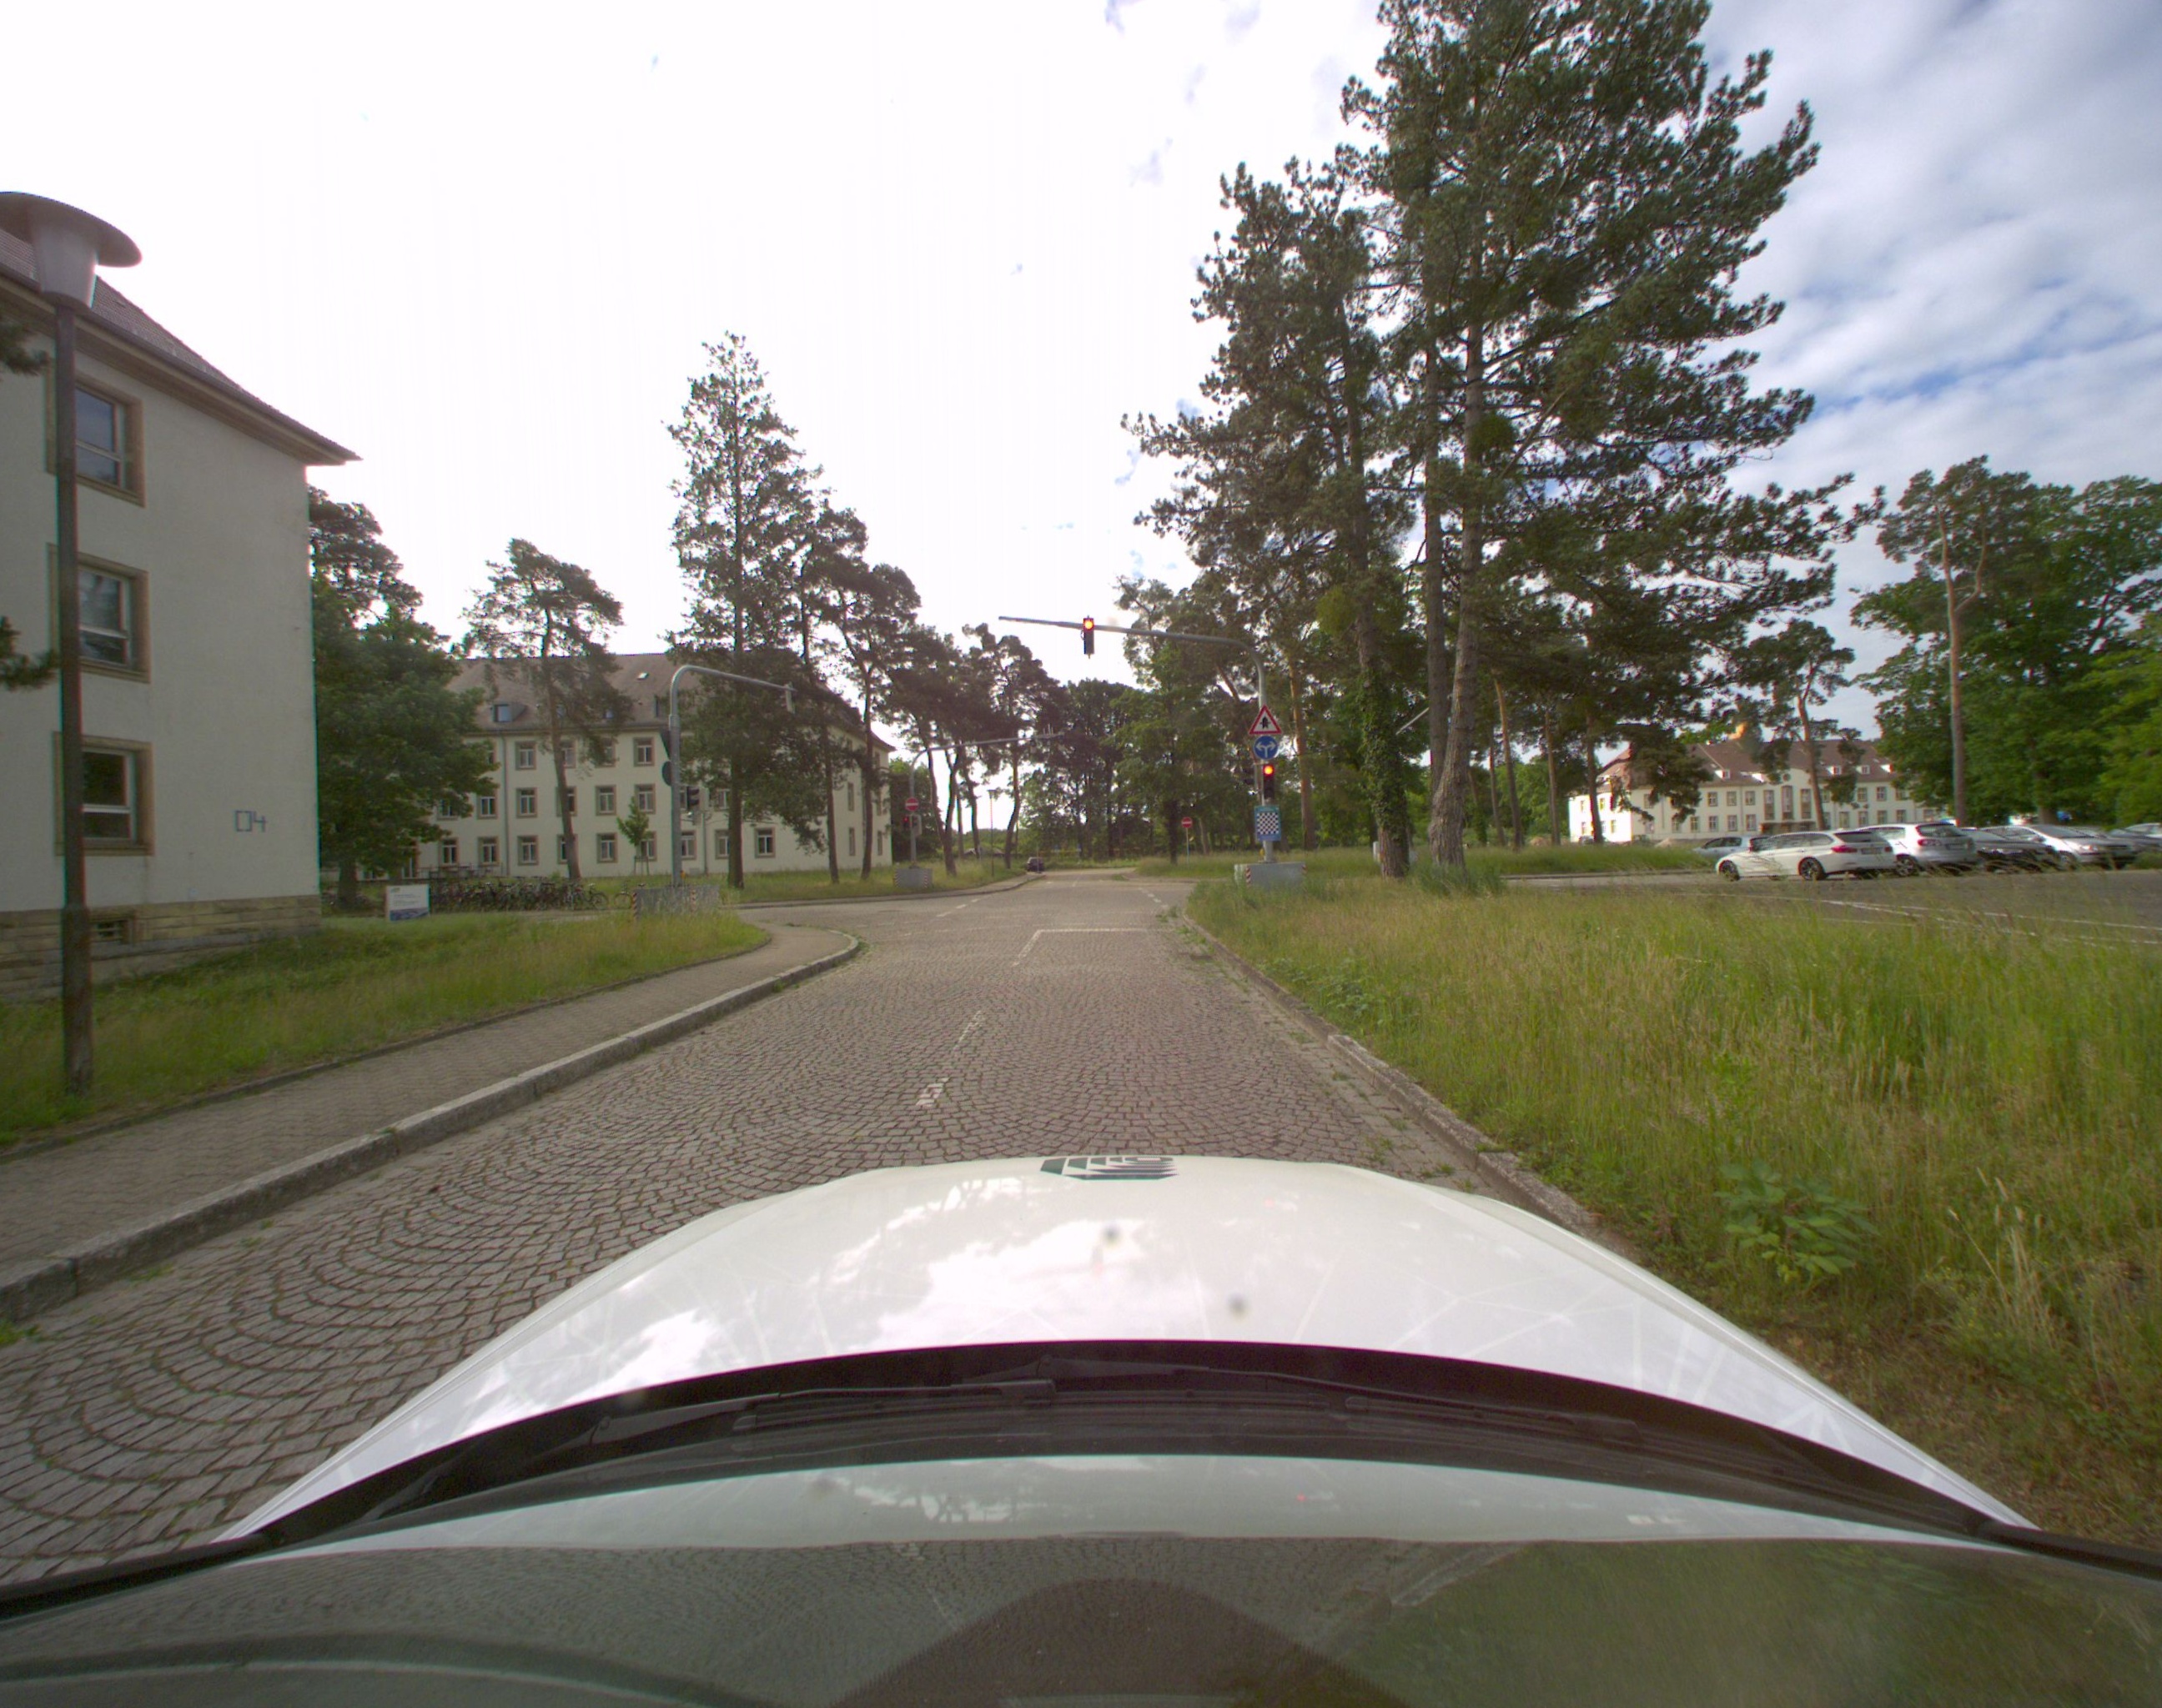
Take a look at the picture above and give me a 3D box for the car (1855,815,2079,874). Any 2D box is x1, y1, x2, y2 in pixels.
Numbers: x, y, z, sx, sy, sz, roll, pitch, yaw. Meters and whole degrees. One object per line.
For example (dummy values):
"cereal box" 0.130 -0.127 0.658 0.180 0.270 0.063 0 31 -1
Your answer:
"car" 26.618 -0.257 24.742 1.862 1.577 4.443 -2 0 -3

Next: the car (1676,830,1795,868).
"car" 28.756 -0.213 35.986 1.746 1.524 4.450 -2 0 2

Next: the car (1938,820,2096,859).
"car" 40.954 -0.601 35.808 1.748 1.524 4.443 -2 0 -3

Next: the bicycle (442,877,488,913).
"bicycle" -23.881 1.582 31.610 0.447 1.283 1.695 -2 0 -1

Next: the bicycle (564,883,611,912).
"bicycle" -18.345 1.628 30.290 1.454 0.996 0.452 -2 0 1

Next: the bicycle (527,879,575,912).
"bicycle" -20.565 1.598 31.642 0.573 1.178 1.953 -2 0 -1

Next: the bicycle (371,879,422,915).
"bicycle" -26.527 1.665 31.595 0.447 1.283 1.827 -2 0 -1

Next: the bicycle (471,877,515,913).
"bicycle" -22.861 1.571 31.702 0.447 1.283 1.695 -2 0 -1

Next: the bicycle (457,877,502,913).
"bicycle" -23.365 1.577 31.657 0.447 1.283 1.695 -2 0 -1

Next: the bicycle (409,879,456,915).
"bicycle" -25.107 1.648 31.551 0.447 1.283 1.695 -2 0 -1

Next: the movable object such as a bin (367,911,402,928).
"movable object such as a bin" -22.856 2.151 26.723 0.747 0.503 0.445 -2 0 -1

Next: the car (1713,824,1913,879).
"car" 21.395 -0.047 24.098 1.748 1.415 4.443 -2 -1 -3

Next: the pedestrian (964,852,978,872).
"pedestrian" -10.628 0.749 78.765 1.206 1.890 0.748 -2 0 2

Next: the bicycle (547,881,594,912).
"bicycle" -19.870 1.642 31.742 0.573 1.078 1.996 -2 0 -1

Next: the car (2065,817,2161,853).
"car" 46.960 -0.830 35.866 1.748 1.524 4.443 -2 0 -3

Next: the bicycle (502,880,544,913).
"bicycle" -21.661 1.622 31.624 0.447 1.178 1.695 -2 0 -1

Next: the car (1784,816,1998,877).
"car" 23.972 -0.206 24.375 1.862 1.577 4.443 -2 0 -3

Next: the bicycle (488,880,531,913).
"bicycle" -22.147 1.615 31.601 0.447 1.178 1.695 -2 0 -1

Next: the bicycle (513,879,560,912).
"bicycle" -21.149 1.604 31.685 0.526 1.178 1.930 -2 0 -1

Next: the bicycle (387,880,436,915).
"bicycle" -26.062 1.676 31.731 0.441 1.283 1.784 -2 0 -1

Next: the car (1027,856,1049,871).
"car" -4.635 0.979 87.621 1.986 1.508 4.002 0 0 2

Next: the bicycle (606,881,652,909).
"bicycle" -16.821 1.519 30.322 1.454 0.996 0.452 -2 0 1

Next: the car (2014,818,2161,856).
"car" 43.840 -0.701 35.239 1.748 1.524 4.443 -2 0 -3

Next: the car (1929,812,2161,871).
"car" 29.365 -0.351 25.027 1.862 1.577 4.443 -2 0 -3

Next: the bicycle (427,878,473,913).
"bicycle" -24.444 1.588 31.583 0.447 1.283 1.695 -2 0 -1

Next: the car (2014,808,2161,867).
"car" 31.985 -0.506 24.845 1.862 1.686 4.443 -2 0 -3
